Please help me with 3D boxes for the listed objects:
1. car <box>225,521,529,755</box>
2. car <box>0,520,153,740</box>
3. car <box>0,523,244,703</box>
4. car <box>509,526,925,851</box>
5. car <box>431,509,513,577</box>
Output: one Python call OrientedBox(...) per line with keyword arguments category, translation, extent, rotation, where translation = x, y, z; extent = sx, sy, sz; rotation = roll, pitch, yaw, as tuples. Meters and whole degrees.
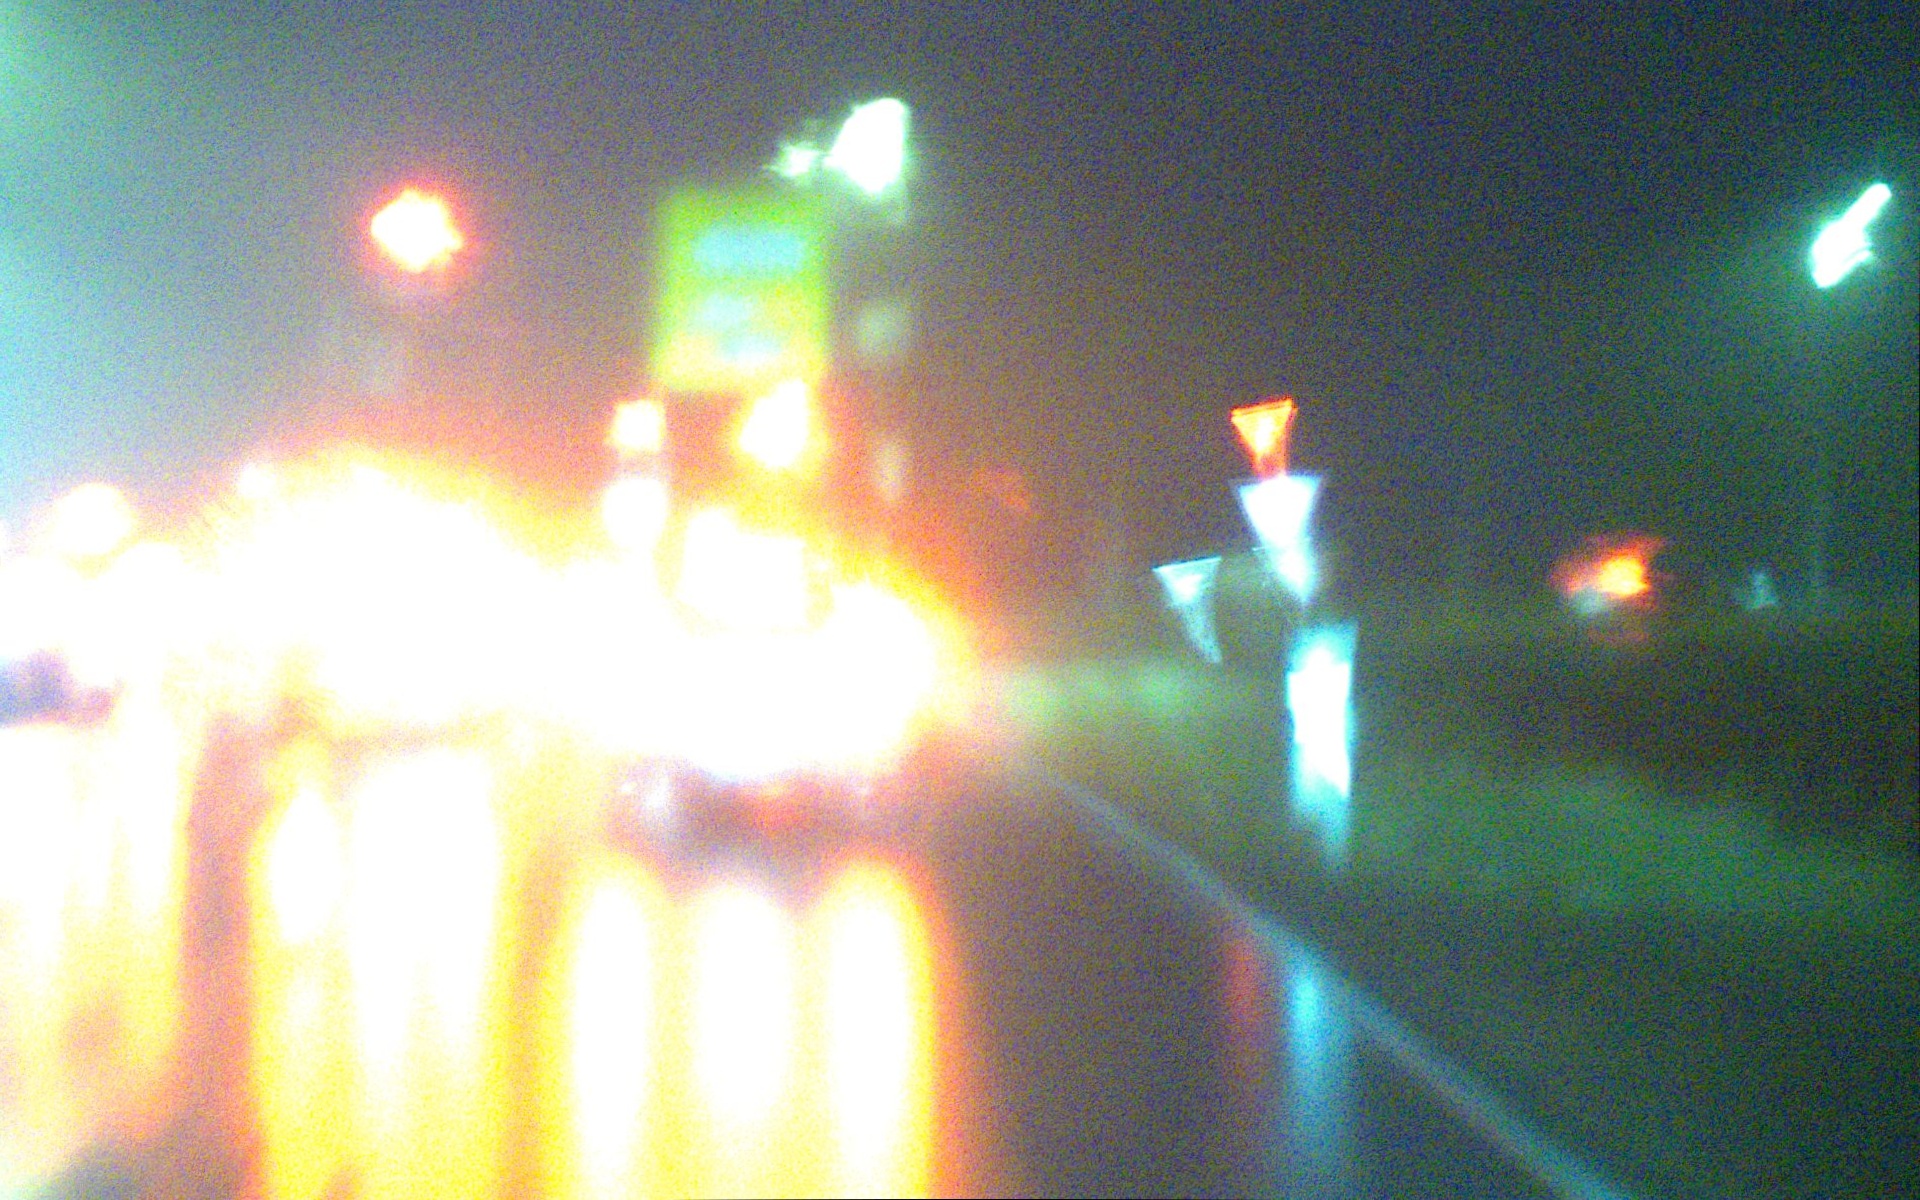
OrientedBox(category="car", translation=(-4.679, 0.229, 28.260), extent=(1.993, 1.622, 4.986), rotation=(-2, 2, -5))
OrientedBox(category="car", translation=(-8.179, 0.203, 28.805), extent=(1.993, 1.622, 4.986), rotation=(-2, 2, -5))
OrientedBox(category="car", translation=(-8.783, 0.073, 35.693), extent=(1.993, 1.622, 4.986), rotation=(-2, 2, -5))
OrientedBox(category="car", translation=(-1.248, 0.432, 19.786), extent=(1.993, 1.622, 4.984), rotation=(0, 0, 1))
OrientedBox(category="car", translation=(-12.733, -1.519, 89.874), extent=(1.993, 1.622, 4.986), rotation=(-2, 2, -7))
